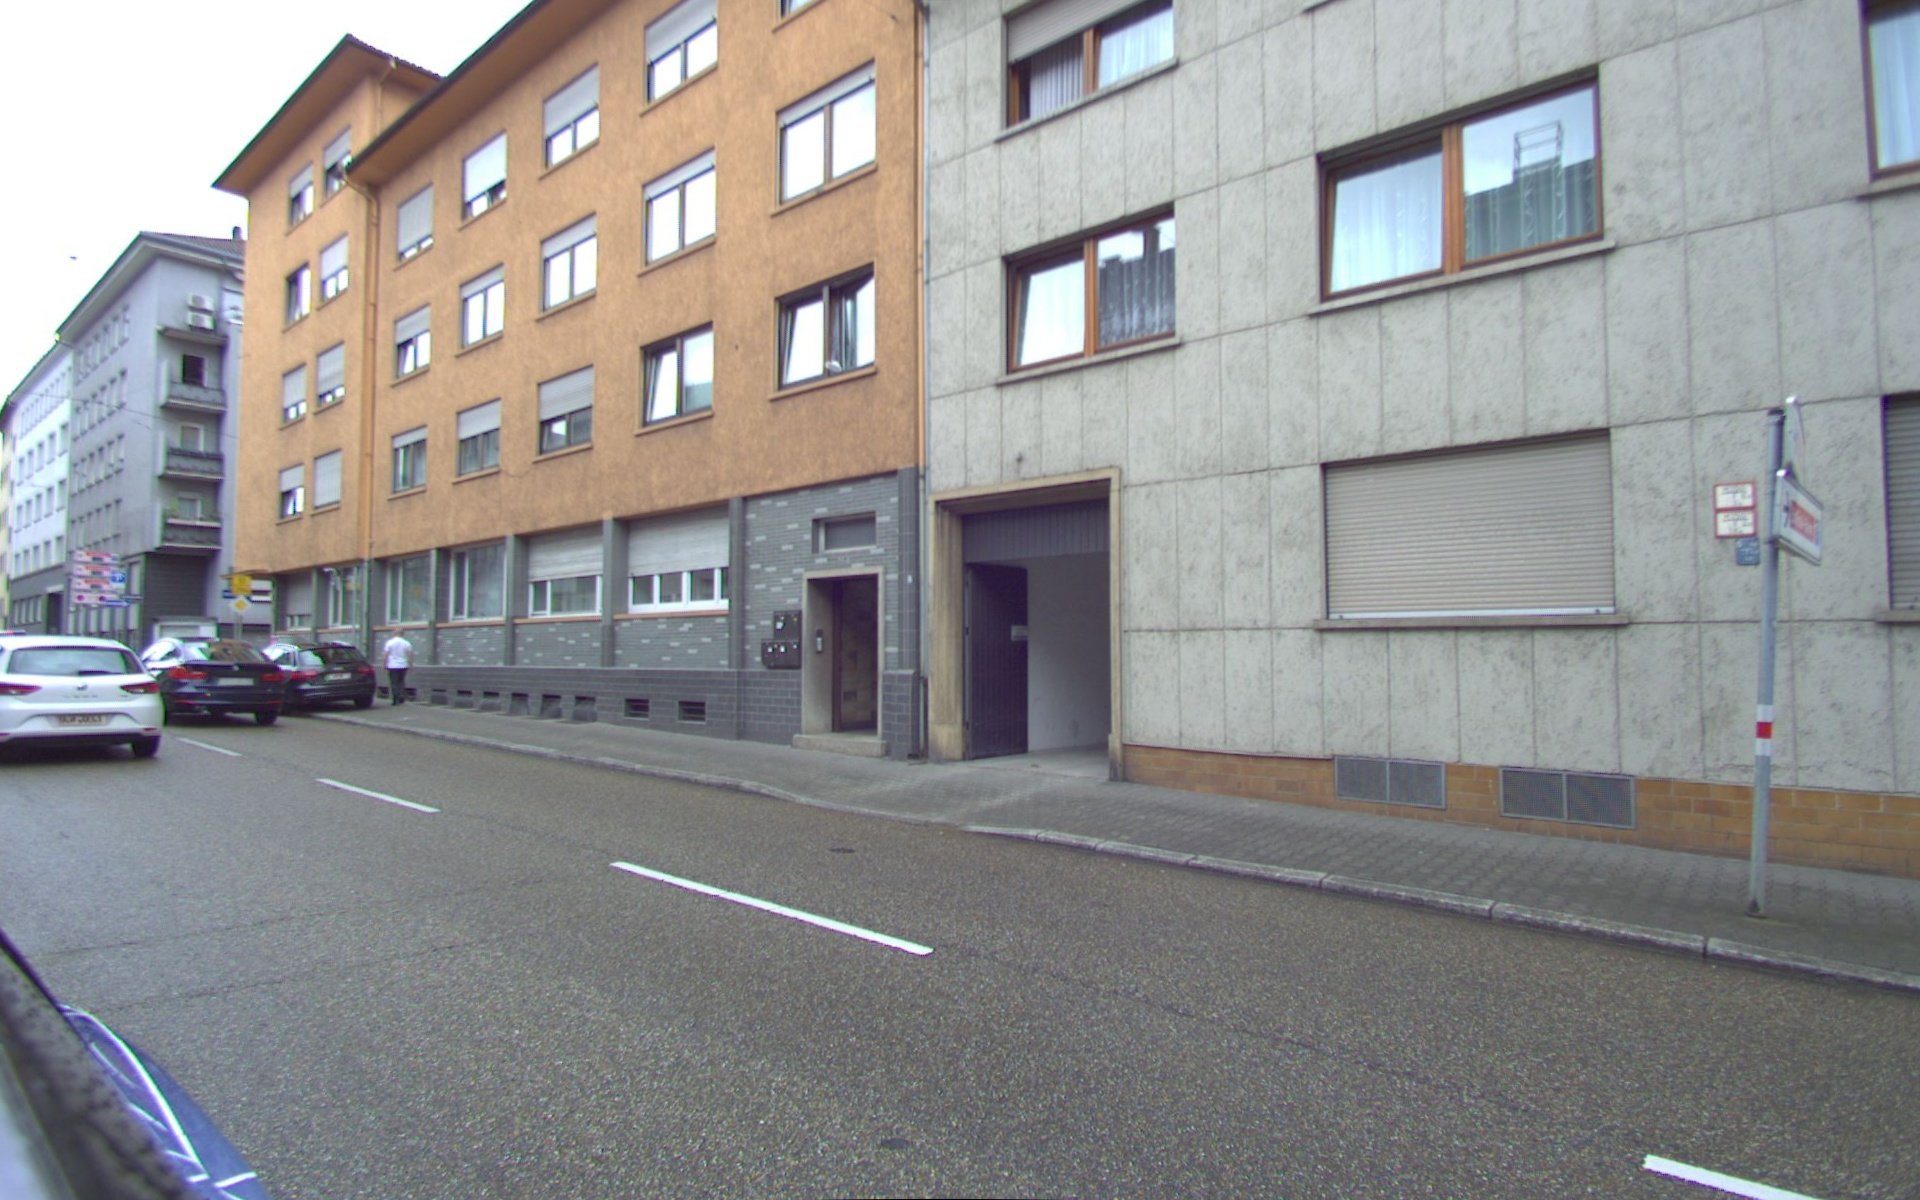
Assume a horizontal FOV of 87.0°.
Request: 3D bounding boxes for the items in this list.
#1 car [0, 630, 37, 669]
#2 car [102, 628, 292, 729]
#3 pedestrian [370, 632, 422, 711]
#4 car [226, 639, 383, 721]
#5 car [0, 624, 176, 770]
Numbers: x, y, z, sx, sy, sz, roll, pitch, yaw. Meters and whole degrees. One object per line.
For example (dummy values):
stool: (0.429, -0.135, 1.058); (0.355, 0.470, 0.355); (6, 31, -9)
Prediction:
car: (-46.490, 2.372, 49.276); (4.216, 1.735, 1.832); (-1, 0, 41)
car: (-13.838, 1.380, 18.261); (4.433, 1.551, 1.677); (-1, -6, 40)
pedestrian: (-12.343, 1.535, 22.139); (0.757, 1.652, 1.024); (-1, 0, -44)
car: (-14.264, 1.646, 21.940); (4.216, 1.485, 1.776); (-1, 0, 41)
car: (-11.408, 1.097, 12.579); (4.049, 1.551, 1.727); (-1, -4, 40)
